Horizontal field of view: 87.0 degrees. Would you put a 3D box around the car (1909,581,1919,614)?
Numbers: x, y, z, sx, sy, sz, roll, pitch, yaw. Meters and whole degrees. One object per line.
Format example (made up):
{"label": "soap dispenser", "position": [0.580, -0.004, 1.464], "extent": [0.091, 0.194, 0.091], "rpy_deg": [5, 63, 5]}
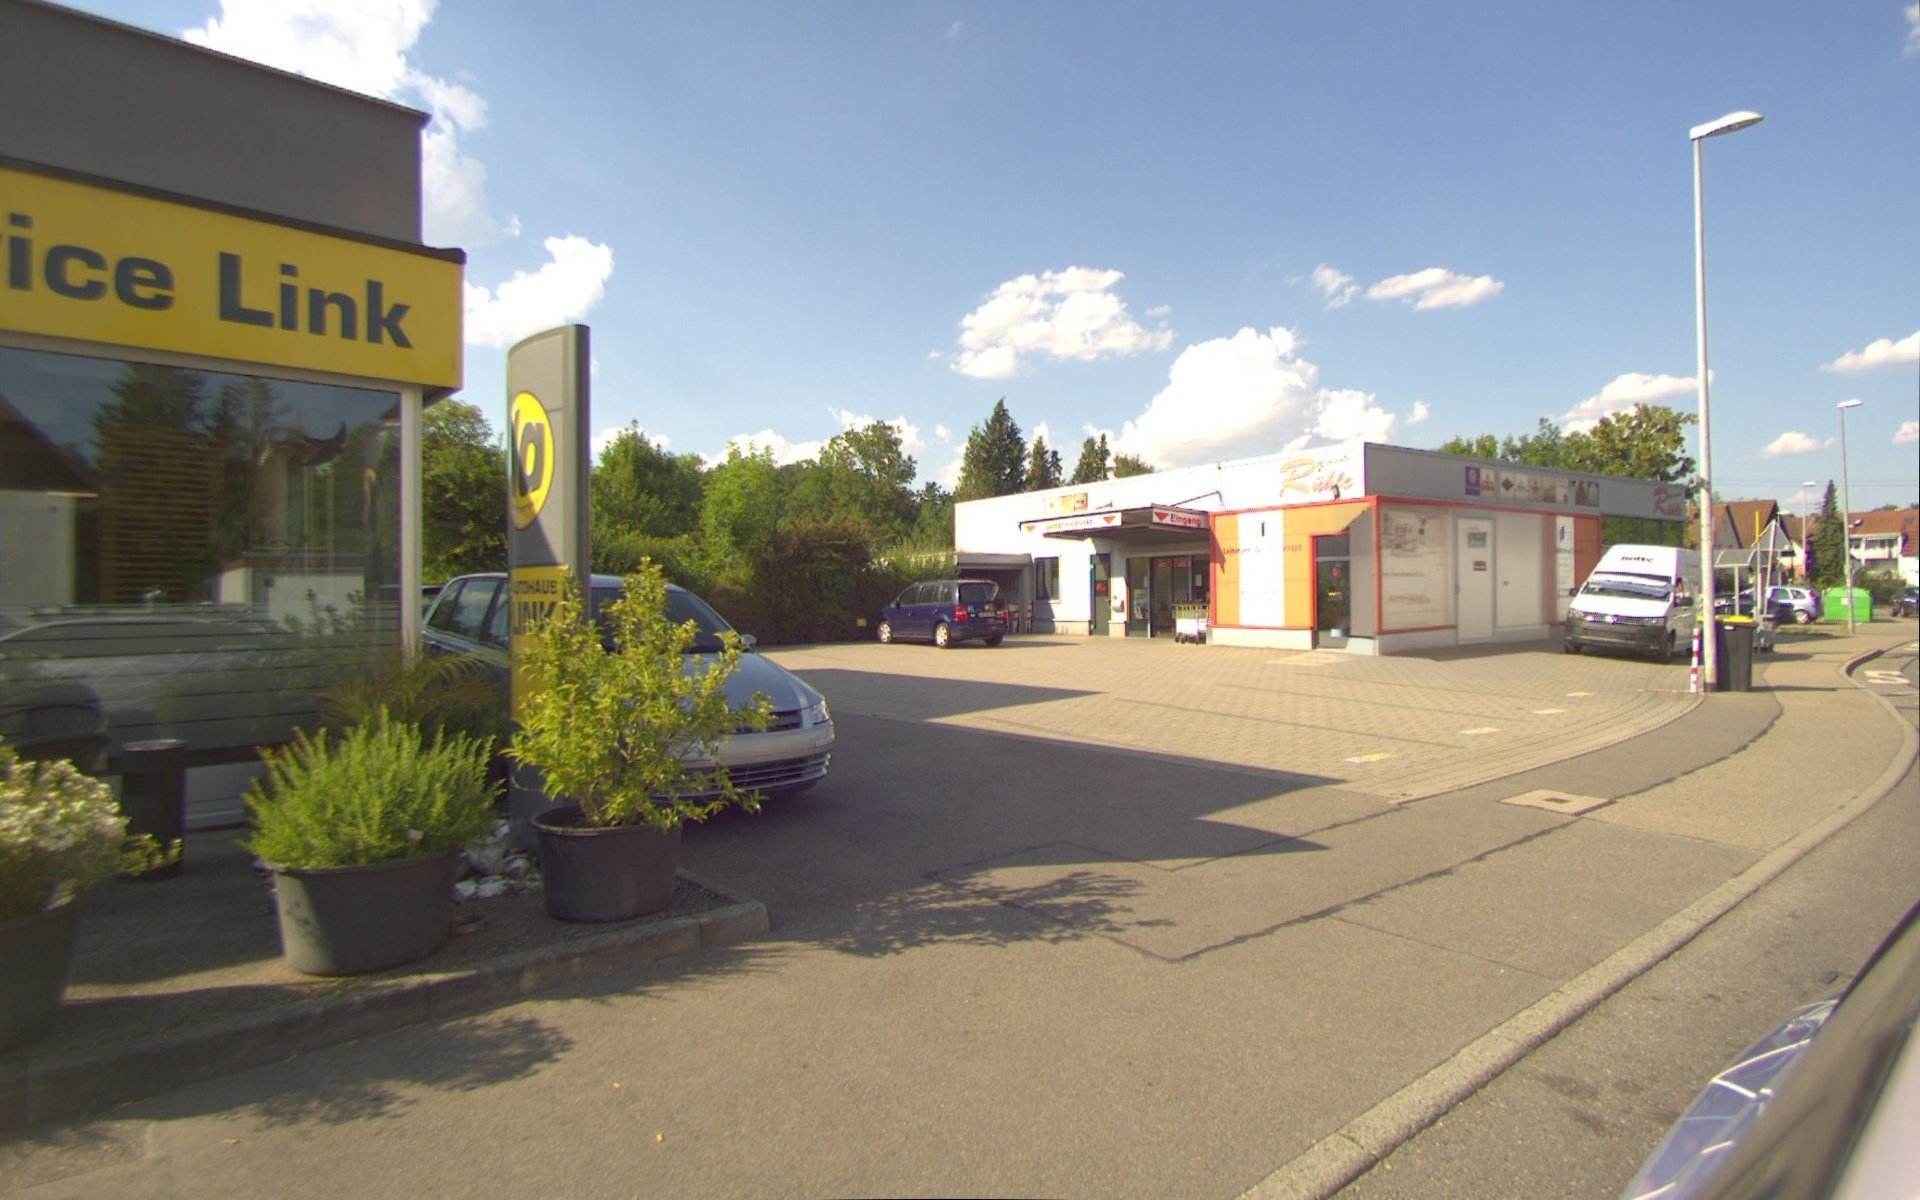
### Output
{"label": "car", "position": [51.629, -0.128, 53.399], "extent": [1.965, 1.677, 3.944], "rpy_deg": [2, 2, 39]}

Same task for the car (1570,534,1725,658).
{"label": "car", "position": [15.165, -0.139, 22.201], "extent": [1.837, 2.404, 5.095], "rpy_deg": [4, 3, 45]}

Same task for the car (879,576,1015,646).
{"label": "car", "position": [-0.388, 0.235, 25.547], "extent": [1.610, 1.615, 3.643], "rpy_deg": [-2, 1, -36]}

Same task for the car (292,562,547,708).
{"label": "car", "position": [-6.695, 0.379, 12.358], "extent": [1.688, 1.487, 3.906], "rpy_deg": [2, -2, -44]}

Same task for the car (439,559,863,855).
{"label": "car", "position": [-2.456, 0.545, 7.329], "extent": [1.501, 1.550, 3.994], "rpy_deg": [0, 0, -40]}

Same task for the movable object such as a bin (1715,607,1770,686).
{"label": "movable object such as a bin", "position": [11.390, 0.660, 14.724], "extent": [0.567, 1.088, 0.564], "rpy_deg": [1, 1, 44]}

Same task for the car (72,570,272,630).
{"label": "car", "position": [-20.437, 0.043, 26.340], "extent": [1.663, 1.417, 3.915], "rpy_deg": [0, -2, 45]}

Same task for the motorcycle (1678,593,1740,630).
{"label": "motorcycle", "position": [28.556, 0.421, 38.619], "extent": [1.817, 1.340, 0.633], "rpy_deg": [1, 1, 32]}

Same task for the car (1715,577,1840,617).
{"label": "car", "position": [34.929, -0.148, 43.295], "extent": [1.653, 1.623, 3.946], "rpy_deg": [-2, 1, -40]}

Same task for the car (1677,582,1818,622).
{"label": "car", "position": [30.673, 0.034, 39.519], "extent": [1.596, 1.434, 4.075], "rpy_deg": [-1, 2, -38]}
